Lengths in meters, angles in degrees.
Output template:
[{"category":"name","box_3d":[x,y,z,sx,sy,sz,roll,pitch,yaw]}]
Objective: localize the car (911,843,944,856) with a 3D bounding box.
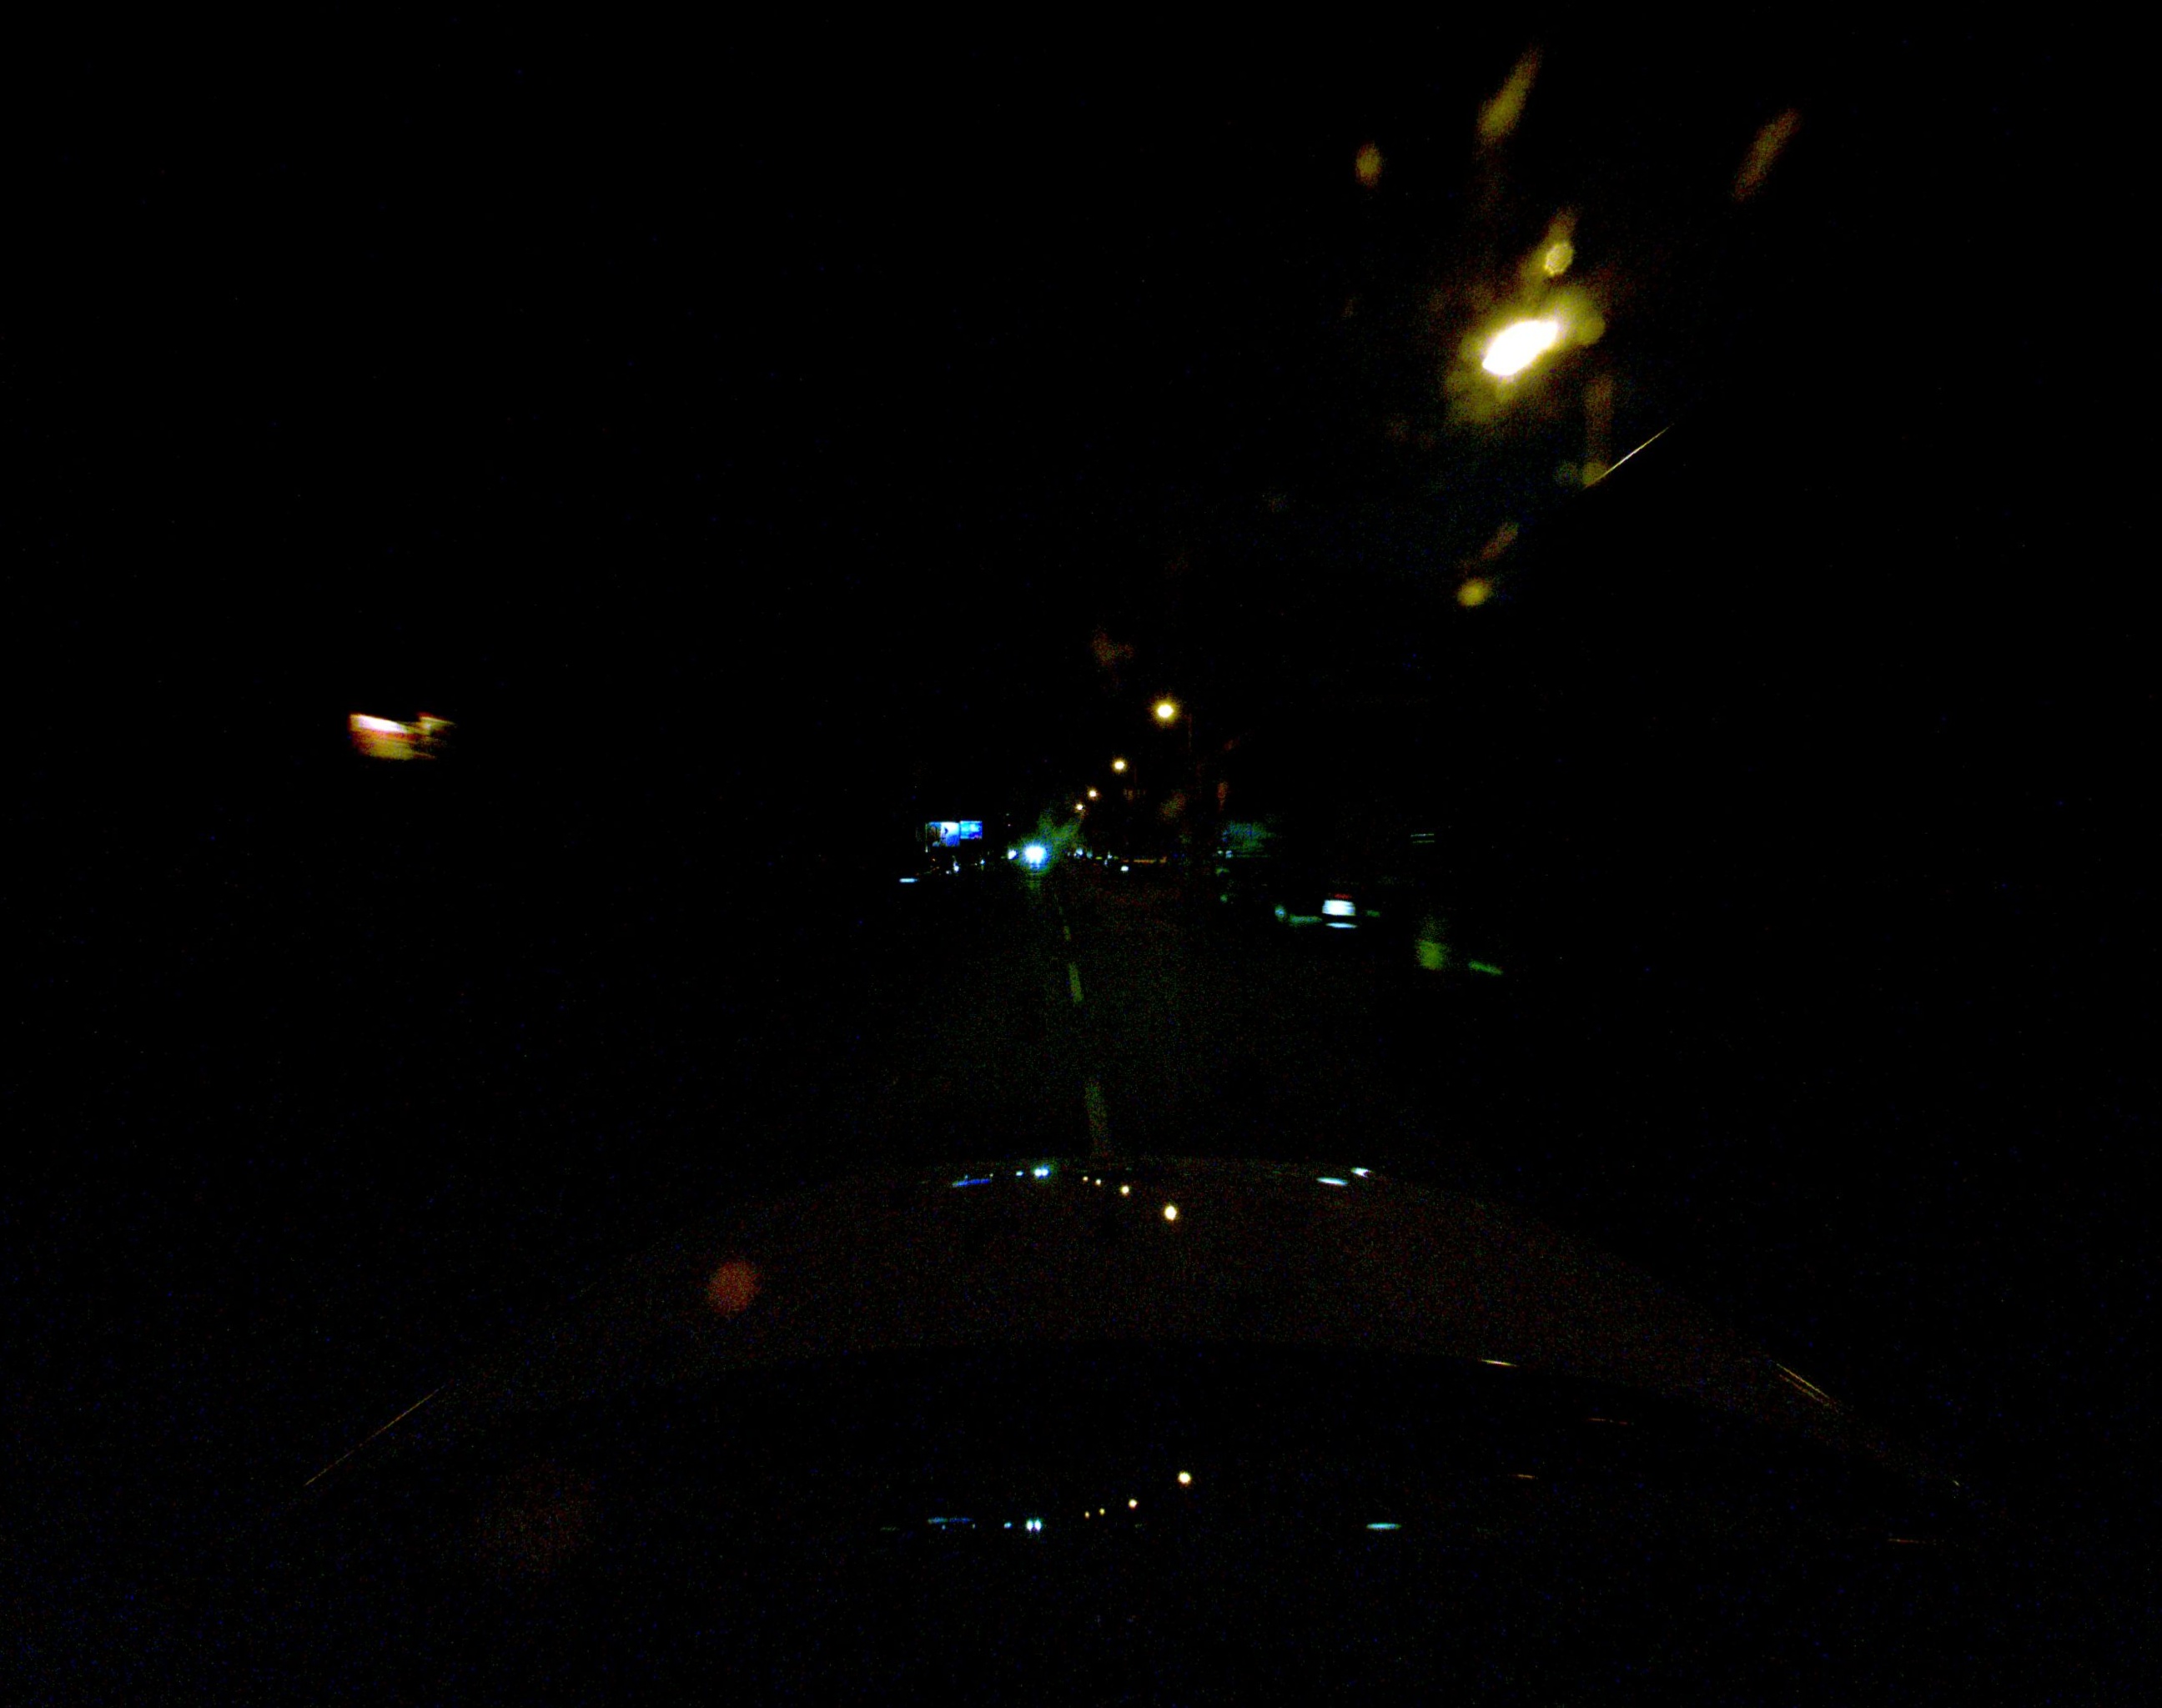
[{"category":"car","box_3d":[-19.814,-0.582,105.053,3.981,1.651,1.996,1,0,-6]}]

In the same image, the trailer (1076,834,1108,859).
[{"category":"trailer","box_3d":[1.205,-0.858,95.060,3.176,2.749,10.705,-1,0,-2]}]

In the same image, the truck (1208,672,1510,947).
[{"category":"truck","box_3d":[4.878,-0.659,17.083,2.821,3.983,10.342,-1,0,0]}]

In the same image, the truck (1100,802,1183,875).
[{"category":"truck","box_3d":[3.488,-0.871,50.449,3.514,3.983,10.325,-1,0,-5]}]

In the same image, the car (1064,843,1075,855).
[{"category":"car","box_3d":[-2.167,-0.938,156.353,1.989,2.145,3.996,1,0,-3]}]

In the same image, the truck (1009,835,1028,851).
[{"category":"truck","box_3d":[-14.284,-2.516,185.250,3.888,3.621,8.238,1,0,-8]}]

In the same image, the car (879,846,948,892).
[{"category":"car","box_3d":[-6.464,0.529,31.934,1.989,1.636,4.767,1,0,-4]}]

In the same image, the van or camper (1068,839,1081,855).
[{"category":"van or camper","box_3d":[-1.115,-1.186,135.999,1.988,2.581,4.911,1,0,-2]}]

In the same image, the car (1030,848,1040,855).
[{"category":"car","box_3d":[-9.318,-0.612,166.670,1.989,1.398,3.996,1,0,-3]}]

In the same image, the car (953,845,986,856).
[{"category":"car","box_3d":[-17.007,-0.538,124.488,4.636,1.485,1.984,0,0,-25]}]

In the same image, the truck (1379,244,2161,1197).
[{"category":"truck","box_3d":[4.829,-0.578,6.434,2.820,3.983,6.052,-1,0,1]}]

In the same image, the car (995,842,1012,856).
[{"category":"car","box_3d":[-10.265,-0.671,108.196,1.989,1.794,3.996,1,0,-3]}]

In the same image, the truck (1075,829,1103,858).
[{"category":"truck","box_3d":[0.891,-1.221,102.189,3.144,3.463,6.667,-1,0,-3]}]

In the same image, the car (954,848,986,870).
[{"category":"car","box_3d":[-7.561,0.324,55.822,1.837,1.420,3.996,1,0,-3]}]

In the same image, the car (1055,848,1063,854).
[{"category":"car","box_3d":[-5.684,-0.769,206.549,1.989,1.684,3.996,1,0,-3]}]

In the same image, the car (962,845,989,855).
[{"category":"car","box_3d":[-17.169,-0.713,132.795,4.011,1.594,1.981,-1,0,-29]}]

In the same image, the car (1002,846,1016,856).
[{"category":"car","box_3d":[-11.813,-0.505,133.937,1.892,1.736,4.354,1,0,-1]}]

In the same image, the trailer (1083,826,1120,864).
[{"category":"trailer","box_3d":[1.905,-0.811,78.758,2.682,3.464,7.795,1,0,-5]}]

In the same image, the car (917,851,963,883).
[{"category":"car","box_3d":[-6.398,0.568,37.247,1.598,1.354,3.996,1,1,-3]}]
